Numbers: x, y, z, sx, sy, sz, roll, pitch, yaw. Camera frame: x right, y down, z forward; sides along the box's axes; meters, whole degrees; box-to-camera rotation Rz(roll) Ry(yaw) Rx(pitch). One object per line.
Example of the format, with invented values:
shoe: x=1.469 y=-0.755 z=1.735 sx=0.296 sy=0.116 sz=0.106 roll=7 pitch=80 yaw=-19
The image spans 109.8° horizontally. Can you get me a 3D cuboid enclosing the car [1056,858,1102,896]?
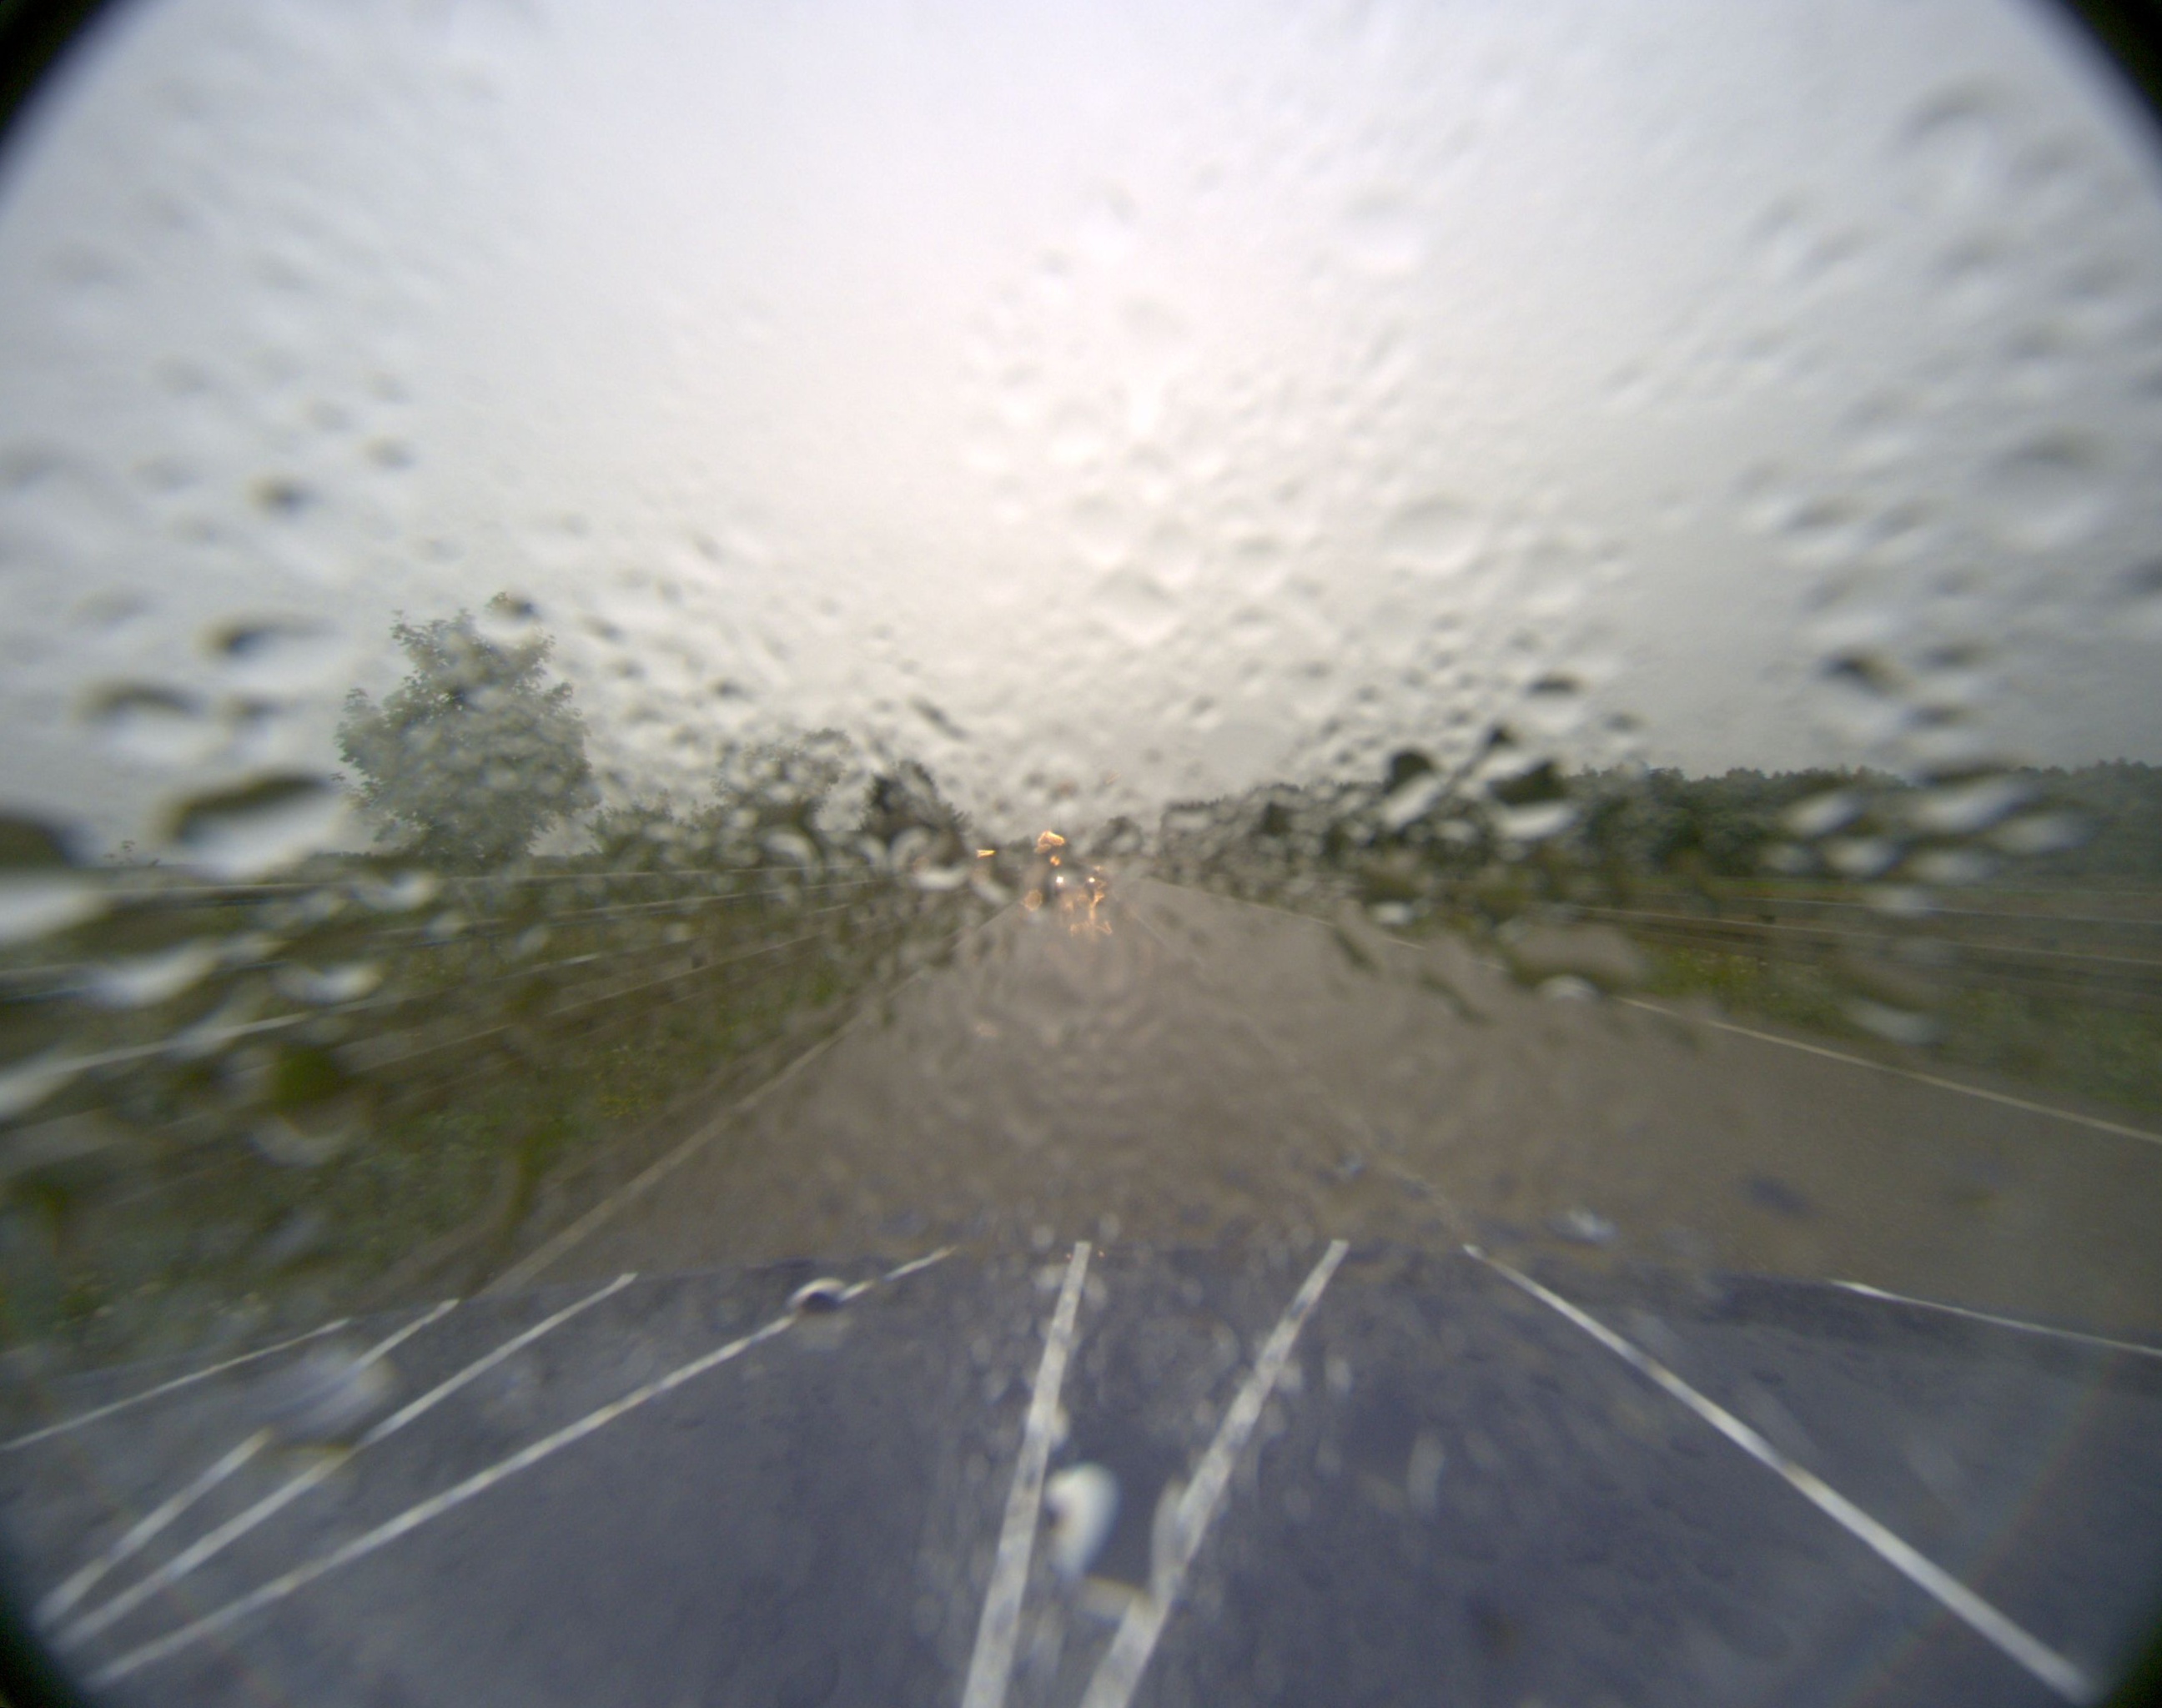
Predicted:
car: x=-0.088 y=0.966 z=33.460 sx=1.819 sy=1.382 sz=4.068 roll=-3 pitch=1 yaw=0
